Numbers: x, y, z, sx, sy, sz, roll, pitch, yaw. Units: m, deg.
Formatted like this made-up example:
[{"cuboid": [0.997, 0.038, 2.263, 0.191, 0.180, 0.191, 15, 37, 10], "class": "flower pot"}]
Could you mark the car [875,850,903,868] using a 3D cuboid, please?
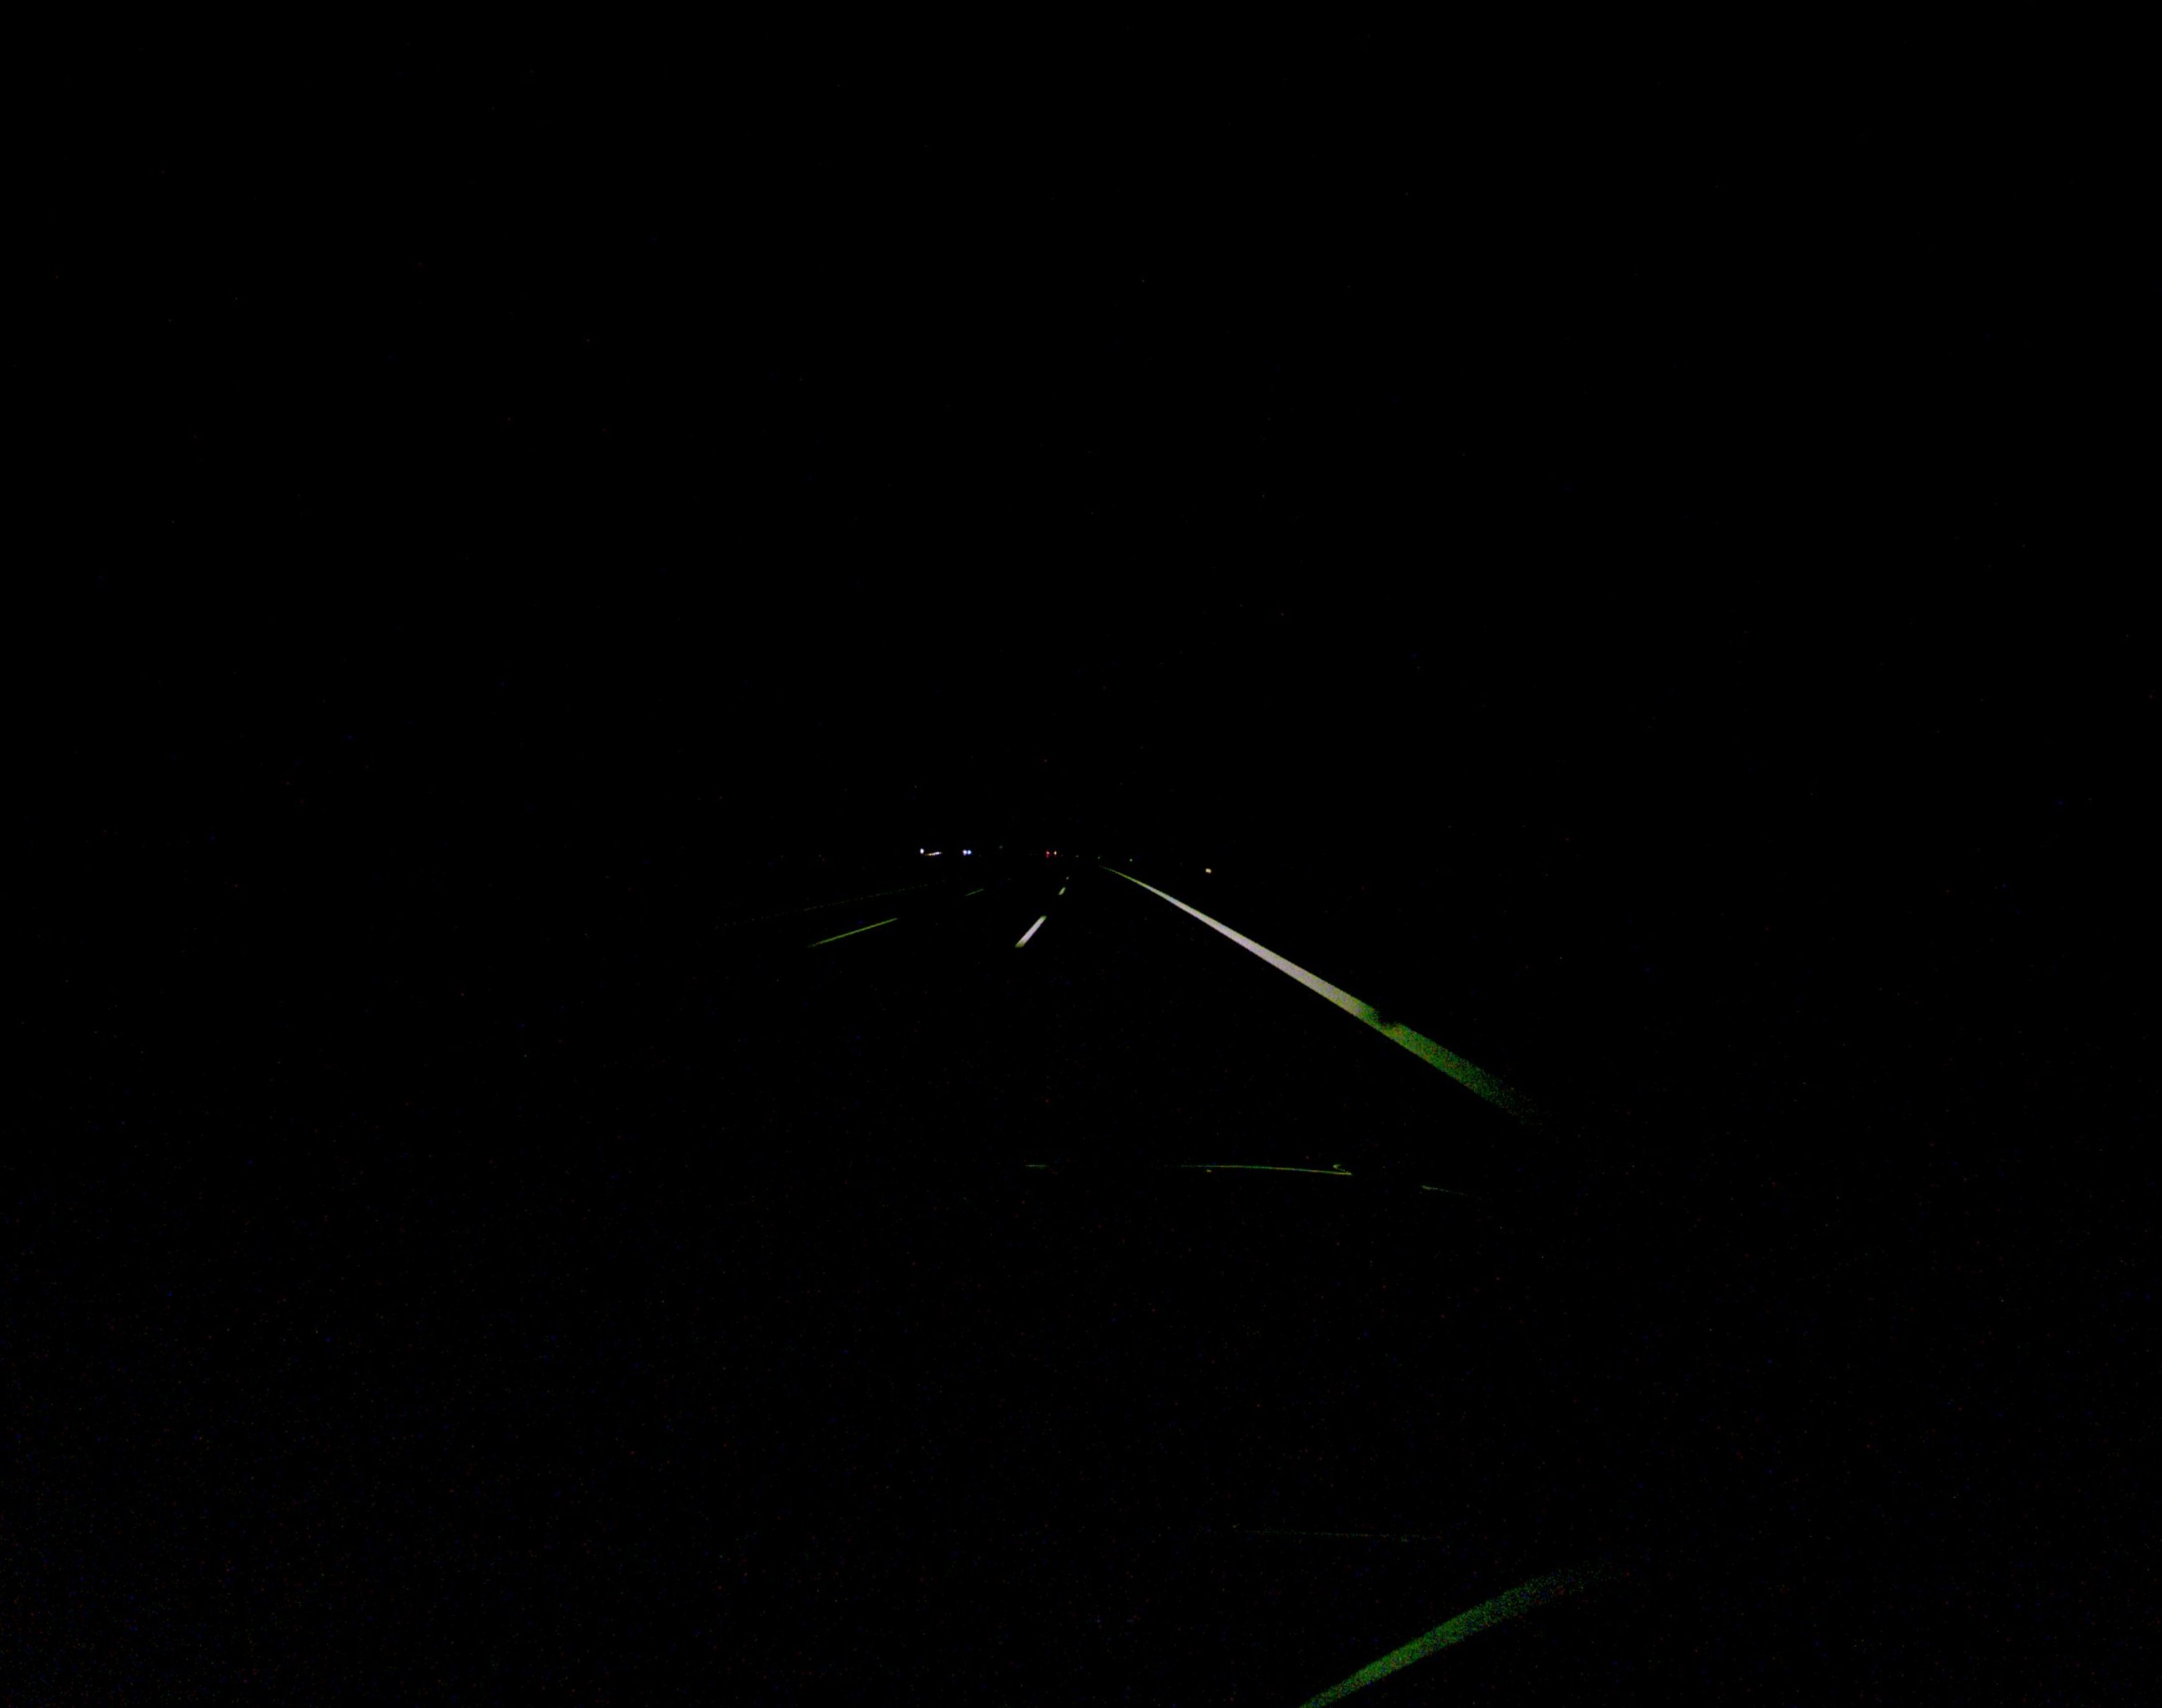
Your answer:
[{"cuboid": [-20.034, 0.477, 85.186, 1.988, 1.854, 4.074, -1, 0, -1], "class": "car"}]

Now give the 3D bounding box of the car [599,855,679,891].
[{"cuboid": [-23.004, 0.943, 42.584, 1.988, 1.726, 4.074, -1, 0, -1], "class": "car"}]

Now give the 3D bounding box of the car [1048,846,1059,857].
[{"cuboid": [-6.815, -0.670, 199.011, 2.523, 2.553, 6.042, 1, 0, -4], "class": "car"}]
